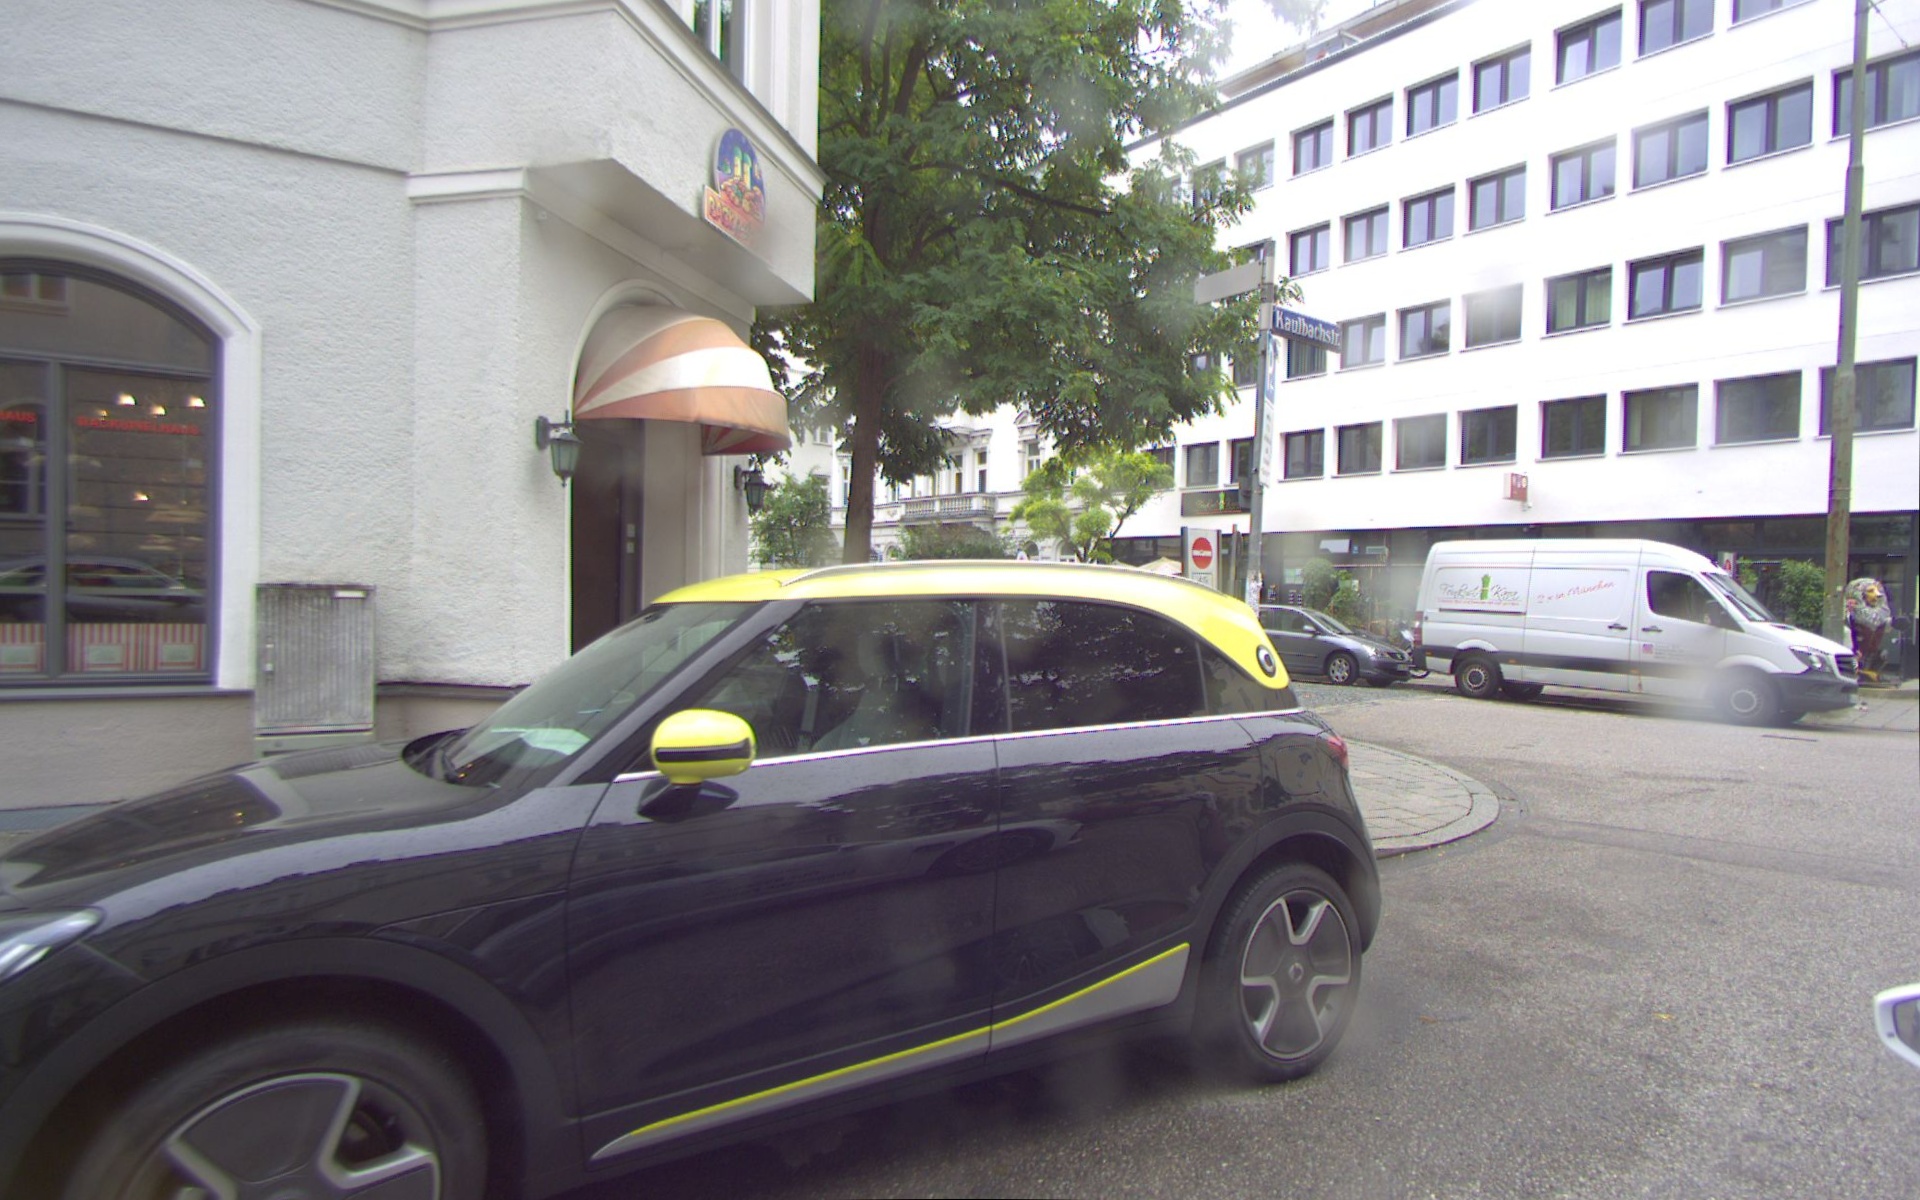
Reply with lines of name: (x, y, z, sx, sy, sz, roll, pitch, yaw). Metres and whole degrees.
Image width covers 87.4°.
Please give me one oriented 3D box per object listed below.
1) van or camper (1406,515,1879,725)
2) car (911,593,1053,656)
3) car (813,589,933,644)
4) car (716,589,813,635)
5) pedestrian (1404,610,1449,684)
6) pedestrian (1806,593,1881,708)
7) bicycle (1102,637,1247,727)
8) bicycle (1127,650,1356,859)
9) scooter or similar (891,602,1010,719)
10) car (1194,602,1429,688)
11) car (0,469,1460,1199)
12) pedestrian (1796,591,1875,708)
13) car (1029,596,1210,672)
van or camper: (10.389, 0.251, 15.880, 1.857, 2.712, 5.858, 3, -1, -38)
car: (0.537, 0.649, 27.923, 1.783, 1.565, 4.094, 3, -1, -37)
car: (-2.889, 0.486, 32.603, 1.897, 1.629, 4.090, 1, 0, -40)
car: (-7.448, 0.421, 38.048, 1.897, 1.629, 4.090, 1, 0, -40)
pedestrian: (9.777, 0.974, 21.067, 0.580, 1.501, 0.653, 3, 1, 4)
pedestrian: (14.712, 0.814, 16.741, 0.767, 1.808, 0.617, 4, 4, 35)
bicycle: (2.710, 1.003, 12.686, 1.537, 0.960, 0.896, 3, 0, 34)
bicycle: (1.891, 0.917, 6.593, 0.884, 1.059, 1.651, 4, 2, 36)
scooter or similar: (-0.107, 0.663, 11.131, 1.168, 1.233, 0.554, 2, 2, -18)
car: (6.887, 0.859, 19.976, 1.787, 1.447, 4.014, 4, -2, -42)
car: (-0.402, 0.660, 3.141, 3.898, 1.618, 1.669, 1, -2, -30)
pedestrian: (14.134, 0.773, 16.239, 0.780, 1.770, 0.769, 3, 4, 35)
car: (3.676, 0.768, 23.792, 1.784, 1.564, 4.093, 3, -1, -38)
